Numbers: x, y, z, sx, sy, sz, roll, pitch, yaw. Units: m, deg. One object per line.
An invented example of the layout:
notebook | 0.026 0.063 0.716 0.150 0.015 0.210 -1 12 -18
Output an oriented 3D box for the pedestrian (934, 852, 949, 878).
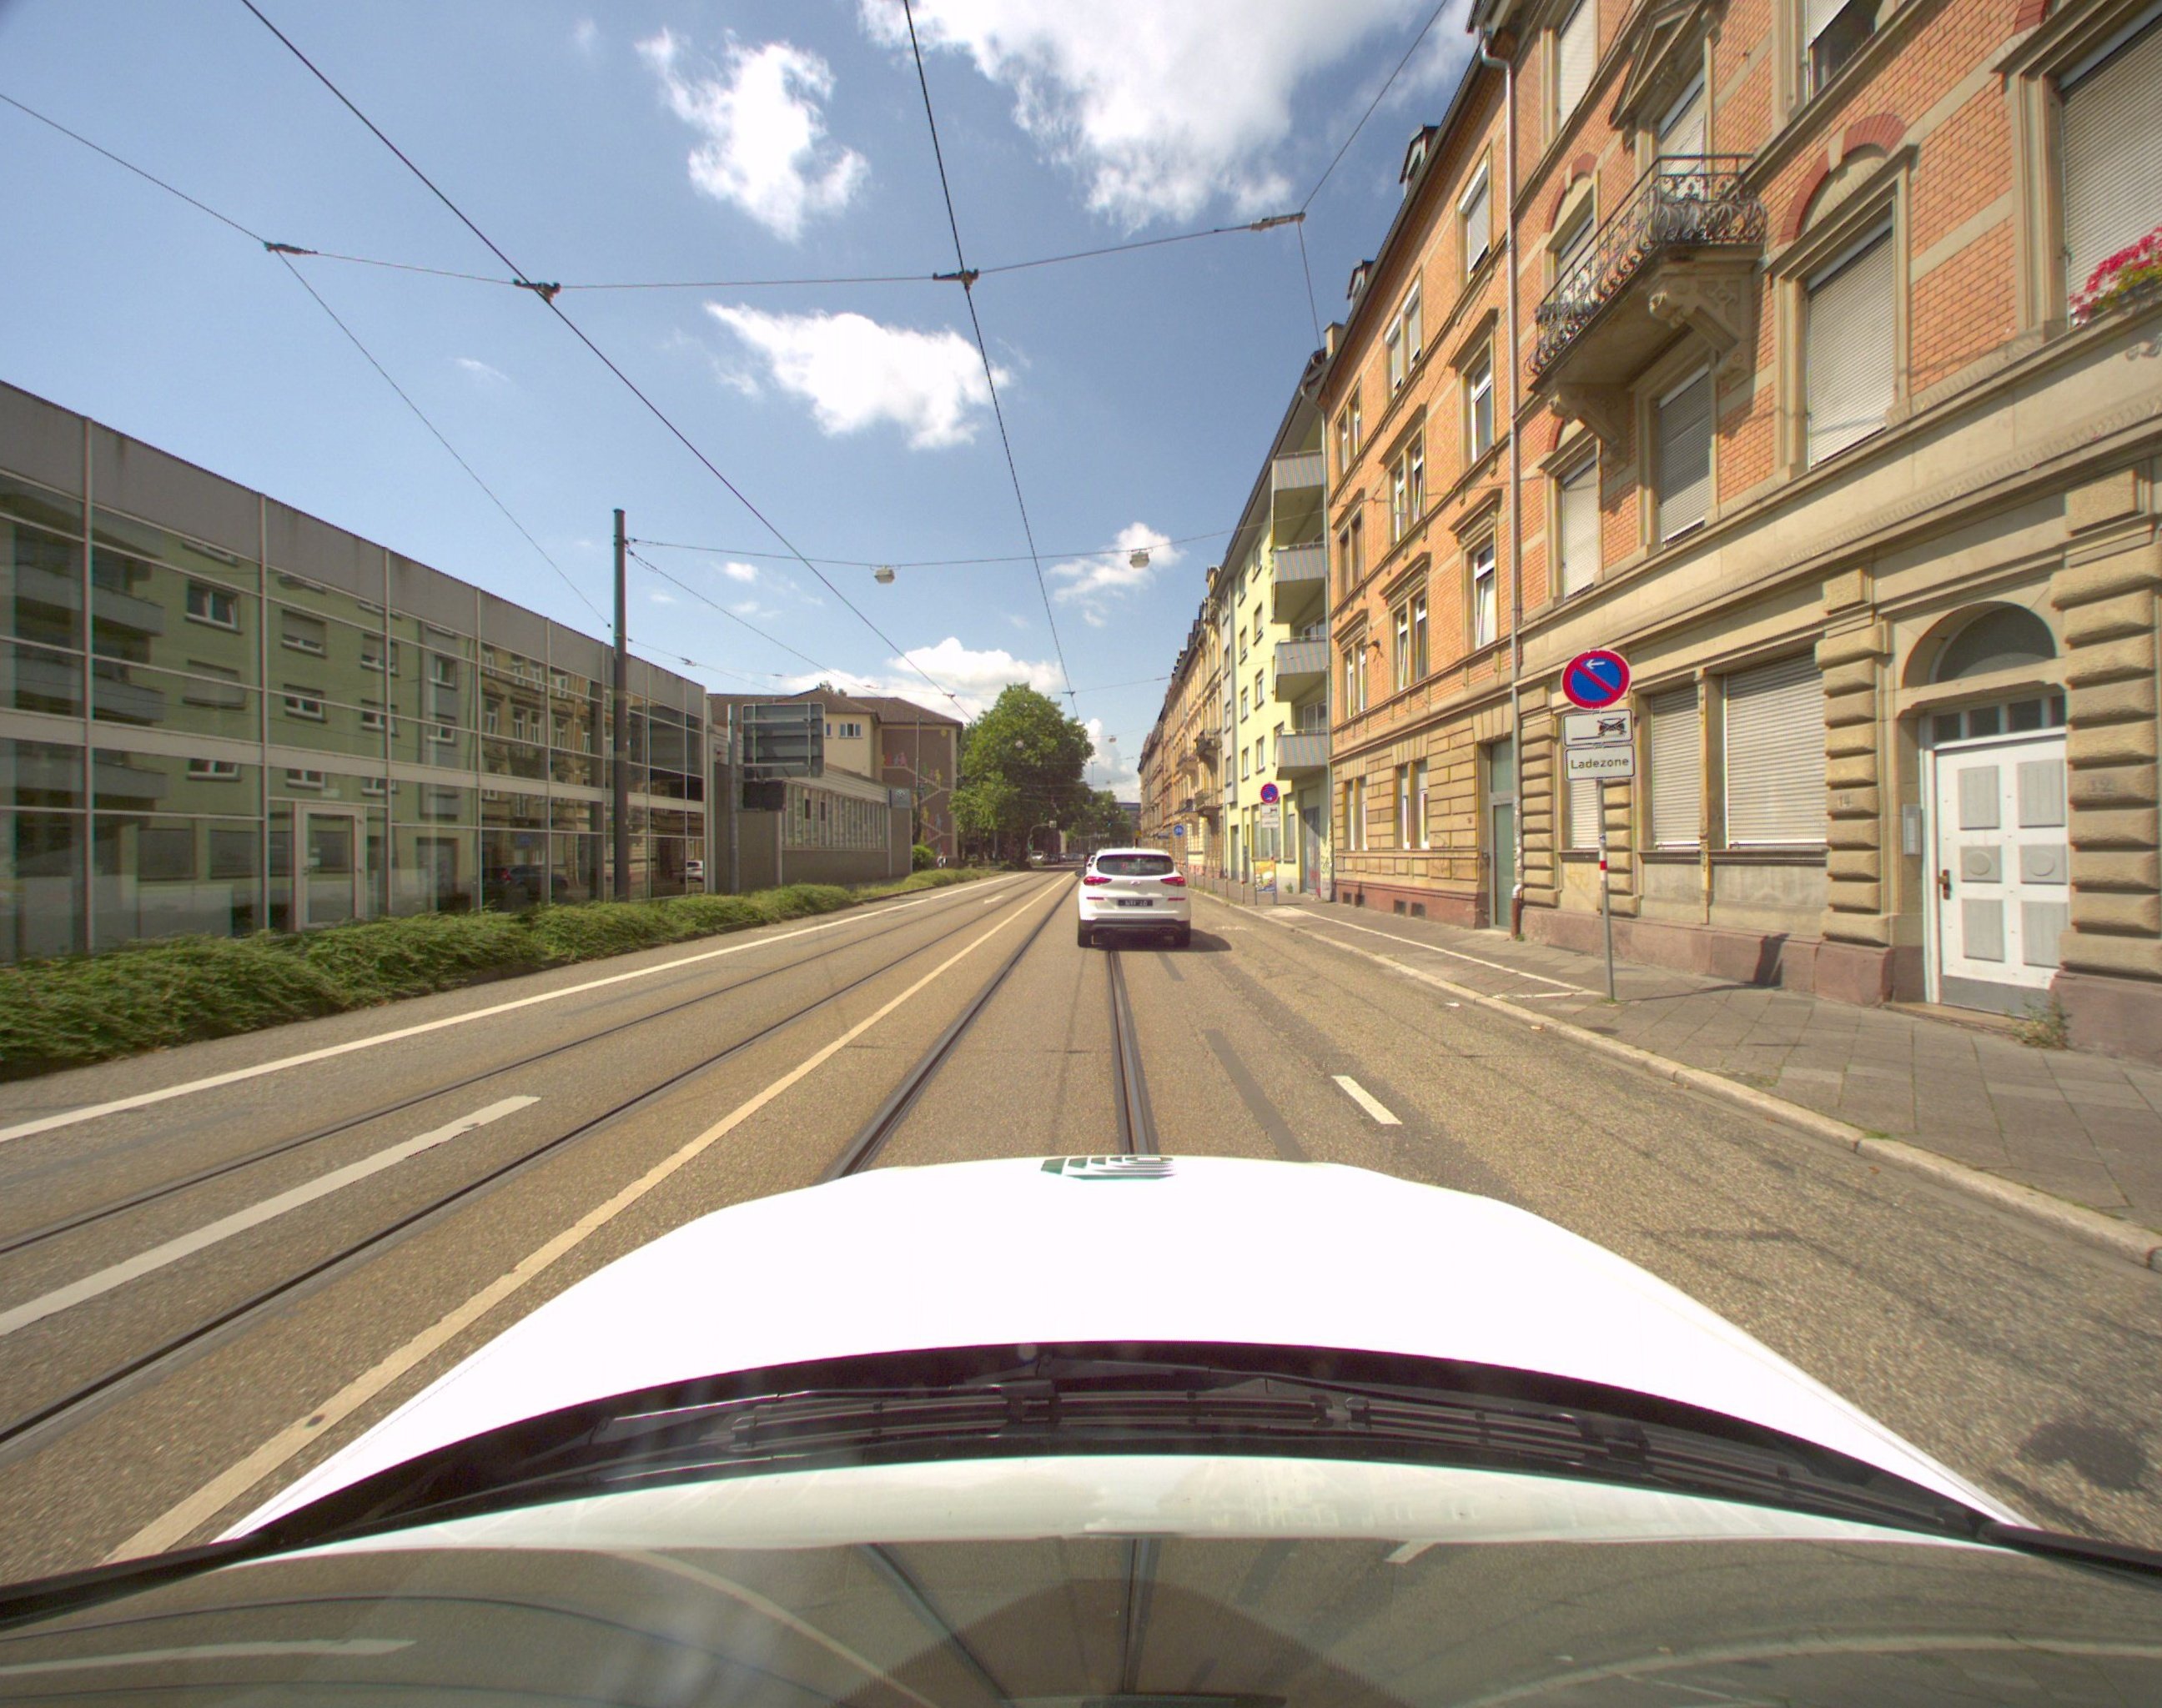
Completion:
pedestrian | -10.448 0.821 61.000 0.877 1.865 1.081 -2 0 1

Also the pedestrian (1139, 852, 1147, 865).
pedestrian | 7.484 0.582 98.594 0.934 1.573 1.050 0 0 1

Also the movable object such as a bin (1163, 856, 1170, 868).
movable object such as a bin | 7.990 0.755 75.996 0.610 1.143 0.639 0 0 1

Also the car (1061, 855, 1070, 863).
car | -3.382 1.036 176.222 1.944 1.632 3.998 0 0 -1

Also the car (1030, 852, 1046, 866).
car | -5.911 0.632 112.048 1.943 1.895 4.566 0 0 1

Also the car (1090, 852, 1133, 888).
car | 1.408 0.685 37.474 1.807 1.524 4.087 -1 0 2

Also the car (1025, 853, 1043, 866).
car | -6.091 0.672 106.053 1.943 1.632 4.576 0 0 1

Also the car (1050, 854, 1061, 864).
car | -4.585 0.852 144.976 1.944 1.632 3.998 0 0 -1

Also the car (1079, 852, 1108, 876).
car | 0.868 0.640 54.860 1.808 1.524 3.957 -1 0 1

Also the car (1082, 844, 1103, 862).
car | 1.092 -0.094 75.110 1.808 1.661 4.086 -1 0 1

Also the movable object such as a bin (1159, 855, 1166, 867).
movable object such as a bin | 7.760 0.671 77.430 0.610 1.143 0.639 0 0 1

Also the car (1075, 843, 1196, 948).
car | 0.841 0.644 14.804 1.847 1.634 4.178 0 0 -1
